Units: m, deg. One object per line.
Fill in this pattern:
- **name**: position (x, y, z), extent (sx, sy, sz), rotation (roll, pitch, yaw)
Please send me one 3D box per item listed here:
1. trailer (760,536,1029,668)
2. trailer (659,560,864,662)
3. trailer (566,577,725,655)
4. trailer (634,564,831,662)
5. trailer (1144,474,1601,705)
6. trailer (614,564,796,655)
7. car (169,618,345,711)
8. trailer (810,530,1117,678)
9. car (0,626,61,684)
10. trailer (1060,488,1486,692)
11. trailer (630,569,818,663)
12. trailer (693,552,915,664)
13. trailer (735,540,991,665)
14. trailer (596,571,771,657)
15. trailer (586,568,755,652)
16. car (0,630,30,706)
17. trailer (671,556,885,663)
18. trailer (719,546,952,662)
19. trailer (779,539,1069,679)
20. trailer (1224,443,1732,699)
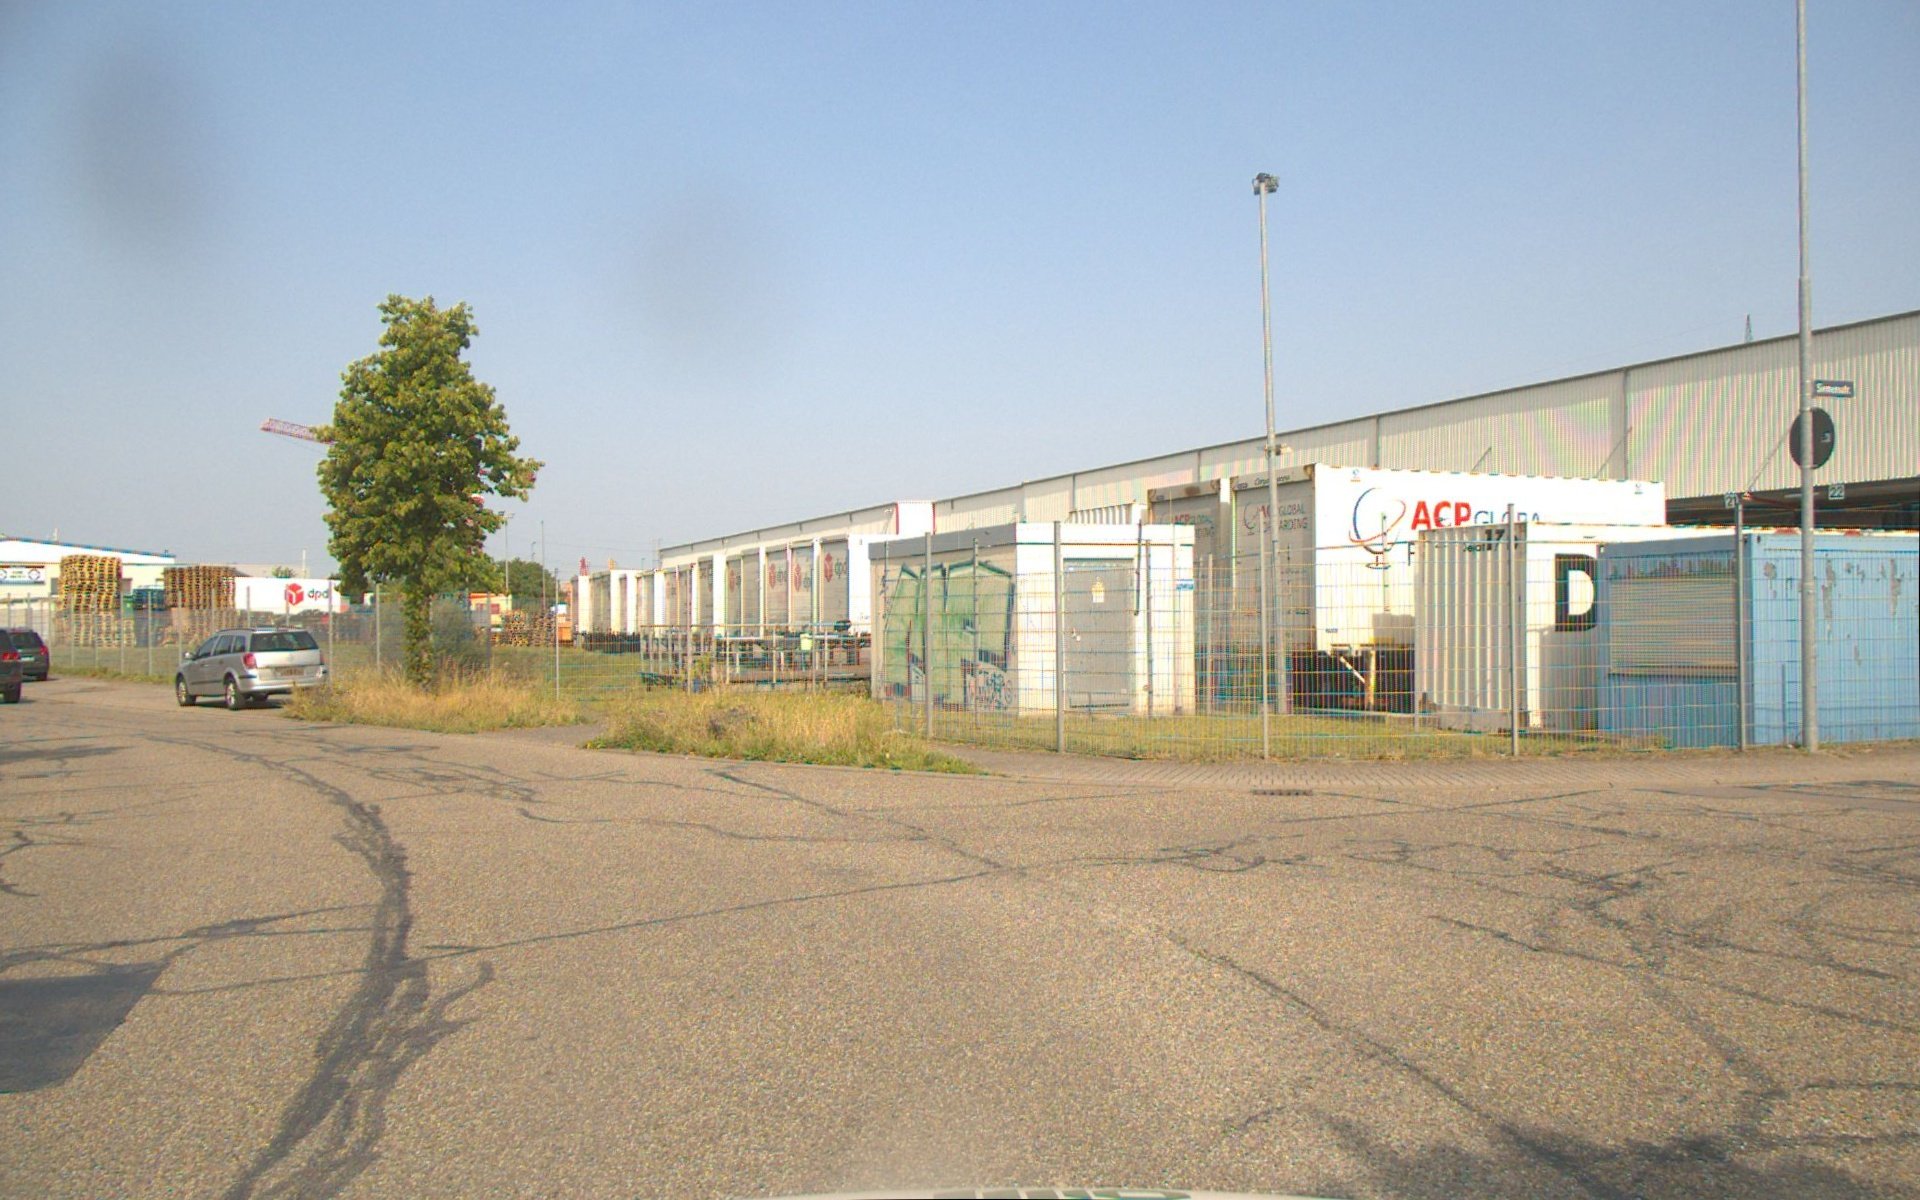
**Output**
- **trailer**: position (-2.049, 0.147, 53.159), extent (8.200, 3.962, 2.754), rotation (1, -1, -25)
- **trailer**: position (-8.115, 0.484, 67.890), extent (7.860, 3.962, 2.754), rotation (1, -1, -25)
- **trailer**: position (-16.734, 0.883, 88.011), extent (7.860, 3.962, 2.721), rotation (1, -1, -25)
- **trailer**: position (-9.706, 0.610, 70.682), extent (7.860, 3.962, 2.754), rotation (1, -1, -25)
- **trailer**: position (7.870, -0.259, 31.355), extent (8.421, 3.962, 2.756), rotation (-1, -1, -23)
- **trailer**: position (-11.834, 0.482, 76.853), extent (7.860, 3.962, 2.754), rotation (1, -1, -25)
- **car**: position (-14.002, 1.240, 32.819), extent (1.791, 1.654, 4.378), rotation (-3, 1, -43)
- **trailer**: position (0.150, 0.186, 47.479), extent (8.426, 3.962, 2.754), rotation (1, -1, -25)
- **car**: position (-27.451, 1.568, 47.604), extent (3.937, 1.541, 1.708), rotation (-2, 1, 45)
- **trailer**: position (6.513, -0.156, 34.072), extent (8.619, 3.827, 2.769), rotation (0, -2, -25)
- **trailer**: position (-10.541, 0.751, 74.086), extent (7.860, 3.962, 2.754), rotation (1, -1, -25)
- **trailer**: position (-5.853, 0.356, 62.337), extent (7.860, 3.962, 2.754), rotation (1, -1, -25)
- **trailer**: position (-3.251, 0.147, 55.952), extent (8.200, 3.962, 2.754), rotation (1, -1, -25)
- **trailer**: position (-13.332, 0.720, 79.781), extent (7.860, 3.962, 2.754), rotation (1, -1, -25)
- **trailer**: position (-14.426, 0.517, 82.545), extent (7.860, 3.962, 2.754), rotation (1, -1, -25)
- **car**: position (-21.985, 1.514, 36.929), extent (1.864, 1.614, 4.065), rotation (-1, -1, -33)
- **trailer**: position (-7.128, 0.427, 65.047), extent (7.860, 3.962, 2.754), rotation (1, -1, -25)
- **trailer**: position (-4.452, 0.204, 59.726), extent (7.930, 3.962, 2.754), rotation (1, -1, -25)
- **trailer**: position (-1.047, 0.340, 50.333), extent (8.426, 3.962, 2.754), rotation (1, -1, -25)
- **trailer**: position (8.937, -0.414, 28.404), extent (8.418, 3.962, 2.756), rotation (0, -3, -23)
